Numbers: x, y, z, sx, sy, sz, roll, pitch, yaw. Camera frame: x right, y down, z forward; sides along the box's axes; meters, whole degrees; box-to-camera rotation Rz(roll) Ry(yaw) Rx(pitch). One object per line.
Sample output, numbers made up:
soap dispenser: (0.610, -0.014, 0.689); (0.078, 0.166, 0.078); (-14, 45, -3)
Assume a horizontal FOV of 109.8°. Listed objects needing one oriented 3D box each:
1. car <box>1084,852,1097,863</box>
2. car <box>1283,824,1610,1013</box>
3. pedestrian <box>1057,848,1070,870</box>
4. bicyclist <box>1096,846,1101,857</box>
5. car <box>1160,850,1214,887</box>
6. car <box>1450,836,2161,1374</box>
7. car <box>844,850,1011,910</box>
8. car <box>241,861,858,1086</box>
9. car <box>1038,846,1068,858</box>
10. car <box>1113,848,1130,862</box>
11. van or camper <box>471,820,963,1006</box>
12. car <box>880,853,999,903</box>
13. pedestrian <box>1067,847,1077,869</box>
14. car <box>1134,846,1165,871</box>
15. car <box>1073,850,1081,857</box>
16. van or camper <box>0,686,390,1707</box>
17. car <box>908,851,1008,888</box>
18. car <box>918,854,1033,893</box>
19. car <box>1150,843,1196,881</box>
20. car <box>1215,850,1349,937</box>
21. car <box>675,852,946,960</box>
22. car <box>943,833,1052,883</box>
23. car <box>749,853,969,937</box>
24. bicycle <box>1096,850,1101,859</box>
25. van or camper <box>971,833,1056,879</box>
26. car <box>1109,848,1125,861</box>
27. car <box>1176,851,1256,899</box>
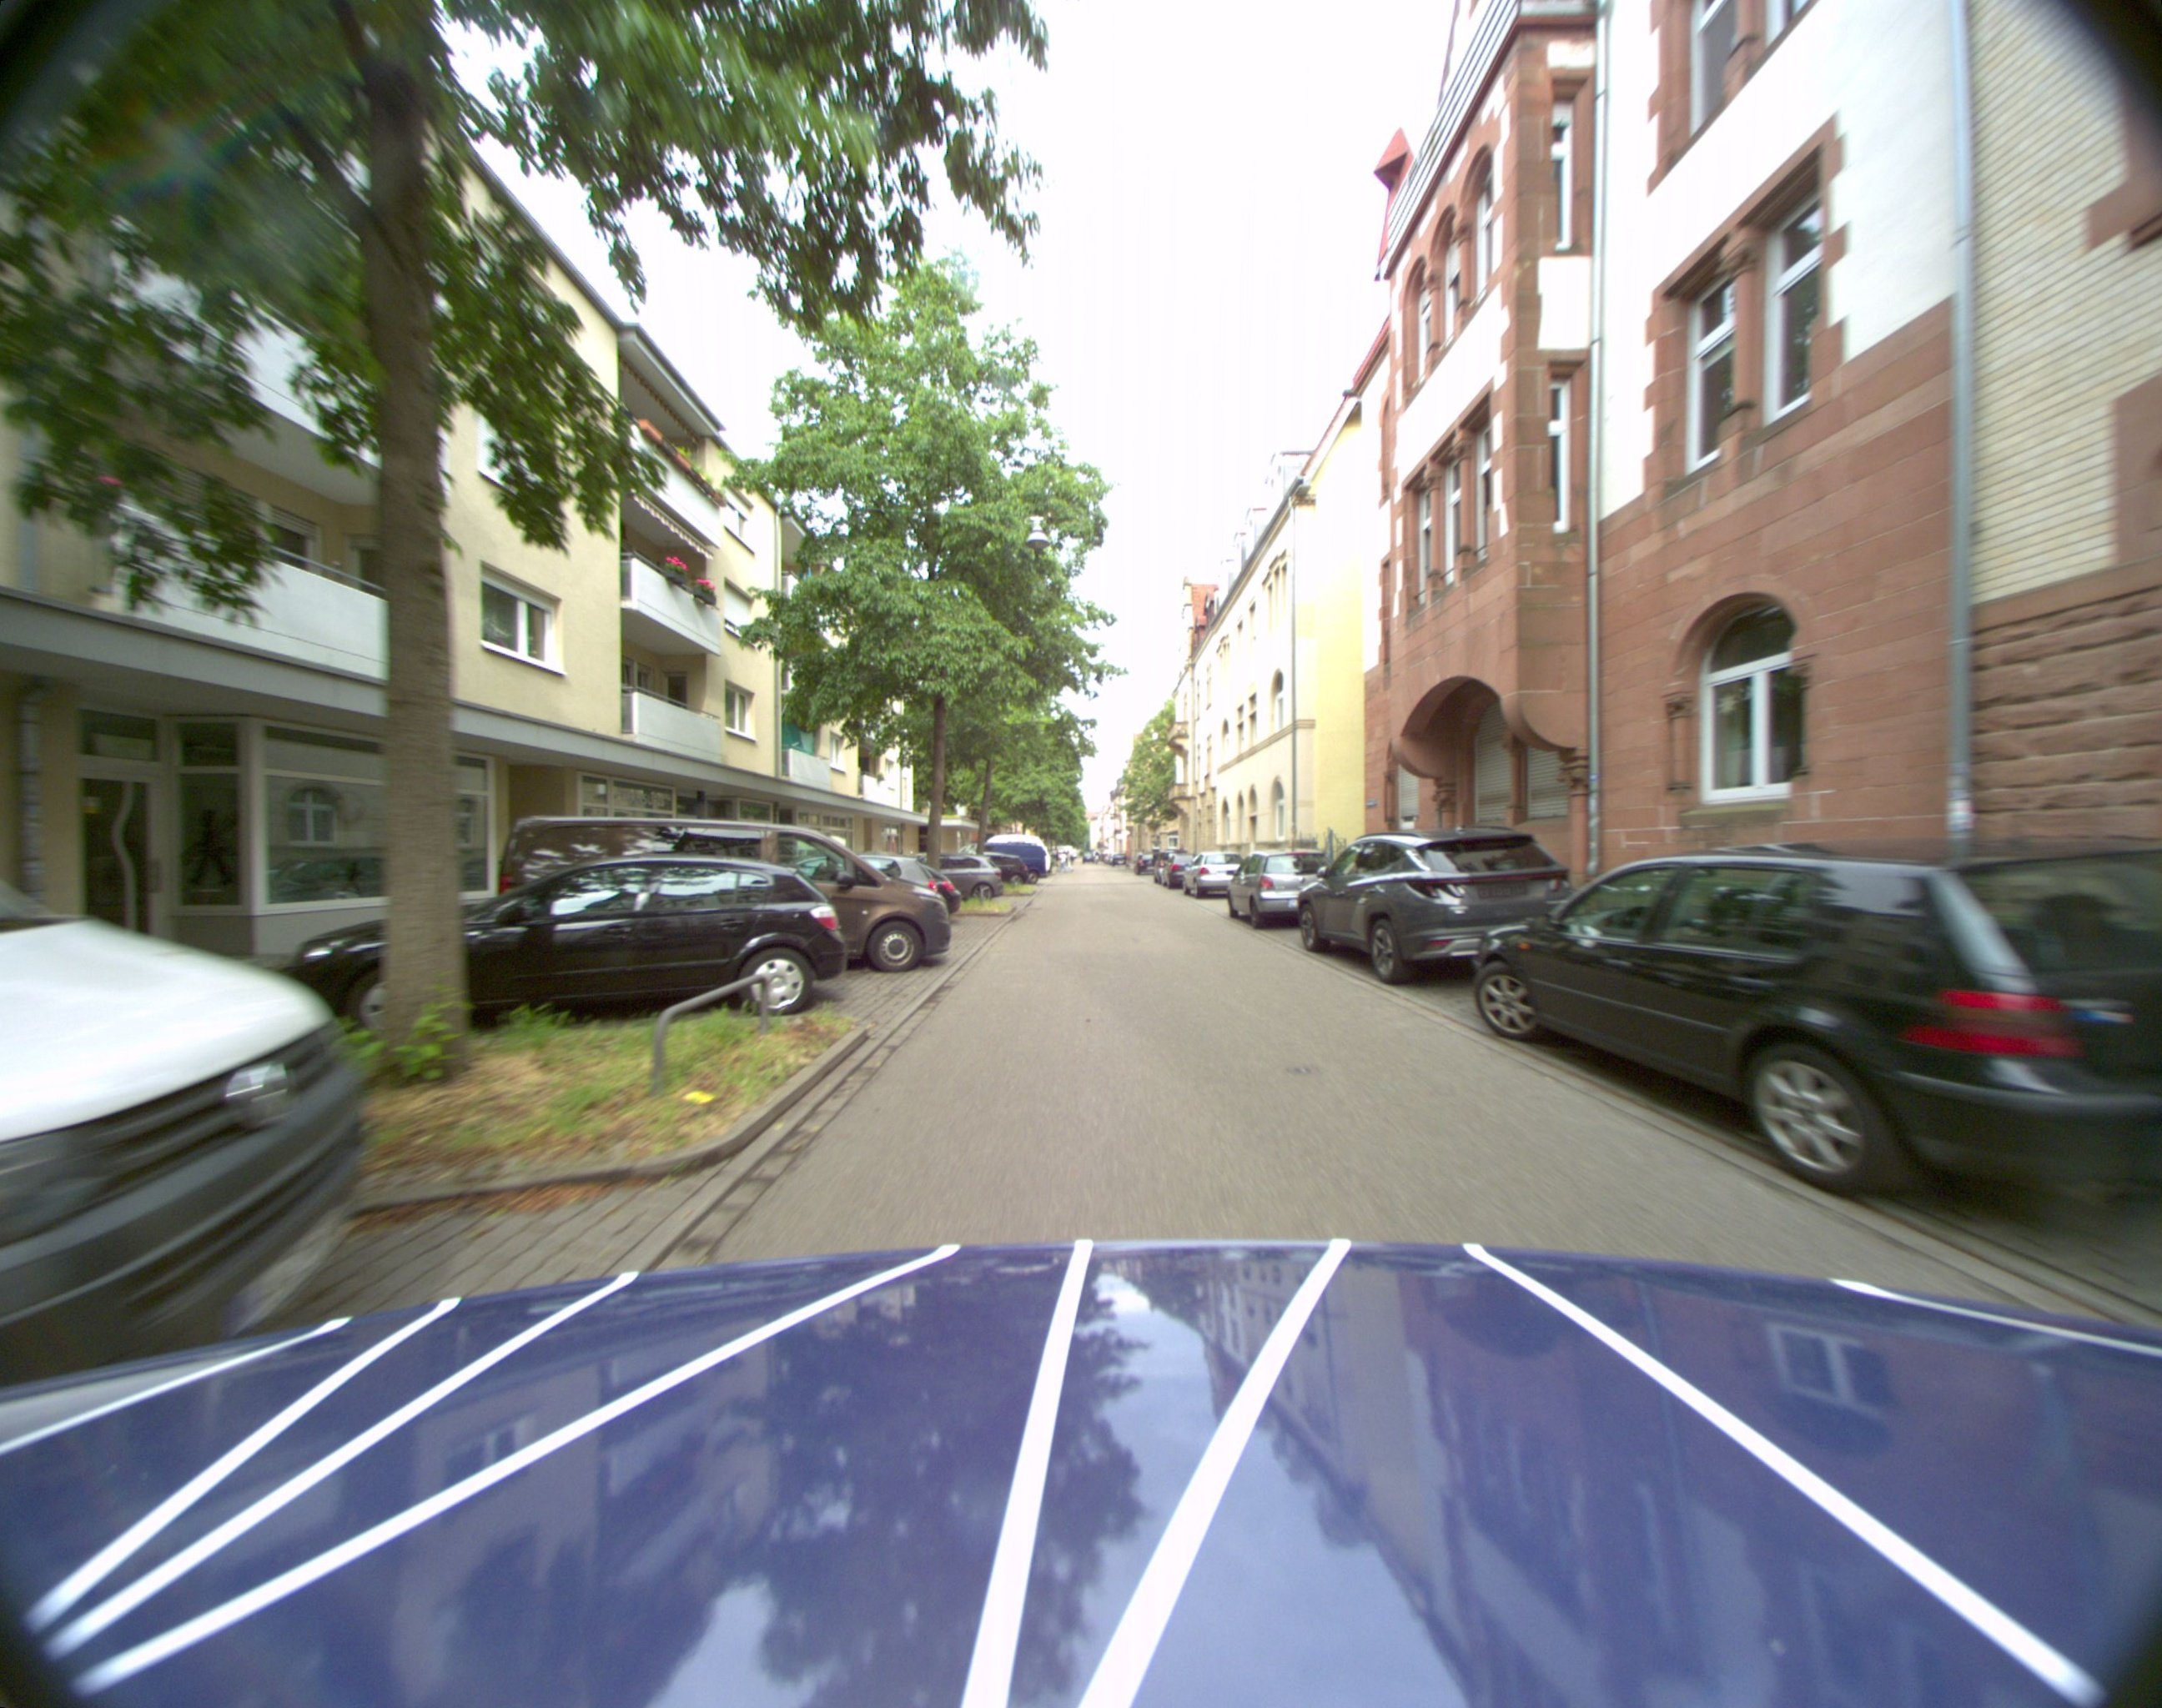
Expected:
car: (1.373, 0.464, 107.639); (1.712, 1.404, 3.854); (0, -2, 1)
car: (4.014, 0.598, 9.308); (1.791, 1.637, 4.361); (-5, 0, 0)
pedestrian: (-1.263, 0.344, 54.891); (0.630, 1.584, 0.671); (0, 1, 41)
bicyclist: (2.233, -0.324, 97.833); (0.649, 1.529, 0.677); (1, 1, 2)
car: (4.230, 0.543, 30.815); (1.730, 1.378, 3.929); (-1, 0, 1)
car: (3.835, 0.683, 4.182); (1.639, 1.465, 3.999); (-3, 2, 0)
car: (-4.335, 0.712, 21.551); (4.234, 1.492, 1.970); (1, 1, -30)
car: (-4.295, 0.851, 6.849); (4.015, 1.436, 1.837); (2, 0, -31)
car: (-4.109, -0.298, 112.079); (3.993, 1.801, 1.721); (-1, 1, 11)
car: (4.304, 0.084, 80.874); (1.731, 1.425, 3.882); (-2, 0, 2)
van or camper: (-4.255, 0.614, 9.615); (5.029, 1.858, 2.122); (1, 1, -25)
car: (-4.514, 0.713, 24.159); (3.374, 1.488, 1.848); (0, 1, -23)
pedestrian: (-0.636, 0.276, 55.570); (0.617, 1.634, 0.604); (-1, 1, 12)
car: (4.406, 0.281, 49.515); (1.713, 1.486, 4.000); (-3, 0, 2)
car: (-1.007, -0.079, 193.752); (1.998, 1.740, 4.000); (-1, 0, 2)
van or camper: (-4.349, 0.628, 0.953); (4.752, 1.983, 1.995); (1, 3, -25)
car: (-5.281, 0.635, 32.621); (3.919, 1.457, 1.821); (0, 1, -24)
car: (-4.186, 0.722, 30.164); (4.120, 1.434, 1.848); (0, 1, -31)
car: (4.217, 0.372, 35.202); (1.651, 1.561, 2.956); (-3, 0, -1)
car: (3.885, 0.685, 15.344); (1.666, 1.412, 3.929); (-4, 0, 1)
car: (-4.338, 0.748, 12.364); (3.867, 1.494, 1.909); (1, 1, -24)
car: (-3.910, 0.221, 36.134); (4.716, 2.183, 2.061); (2, 0, -38)
car: (-4.499, 0.760, 15.366); (4.057, 1.475, 1.943); (1, 1, -24)
bicycle: (2.213, 0.071, 97.841); (0.635, 1.087, 1.799); (0, 0, 2)
van or camper: (-3.959, 0.084, 44.789); (4.604, 2.581, 1.906); (-1, 1, -32)
car: (4.289, 0.083, 90.196); (1.593, 1.425, 3.809); (-2, 0, -1)
car: (4.188, 0.594, 24.253); (1.731, 1.378, 4.136); (-1, 0, -1)
